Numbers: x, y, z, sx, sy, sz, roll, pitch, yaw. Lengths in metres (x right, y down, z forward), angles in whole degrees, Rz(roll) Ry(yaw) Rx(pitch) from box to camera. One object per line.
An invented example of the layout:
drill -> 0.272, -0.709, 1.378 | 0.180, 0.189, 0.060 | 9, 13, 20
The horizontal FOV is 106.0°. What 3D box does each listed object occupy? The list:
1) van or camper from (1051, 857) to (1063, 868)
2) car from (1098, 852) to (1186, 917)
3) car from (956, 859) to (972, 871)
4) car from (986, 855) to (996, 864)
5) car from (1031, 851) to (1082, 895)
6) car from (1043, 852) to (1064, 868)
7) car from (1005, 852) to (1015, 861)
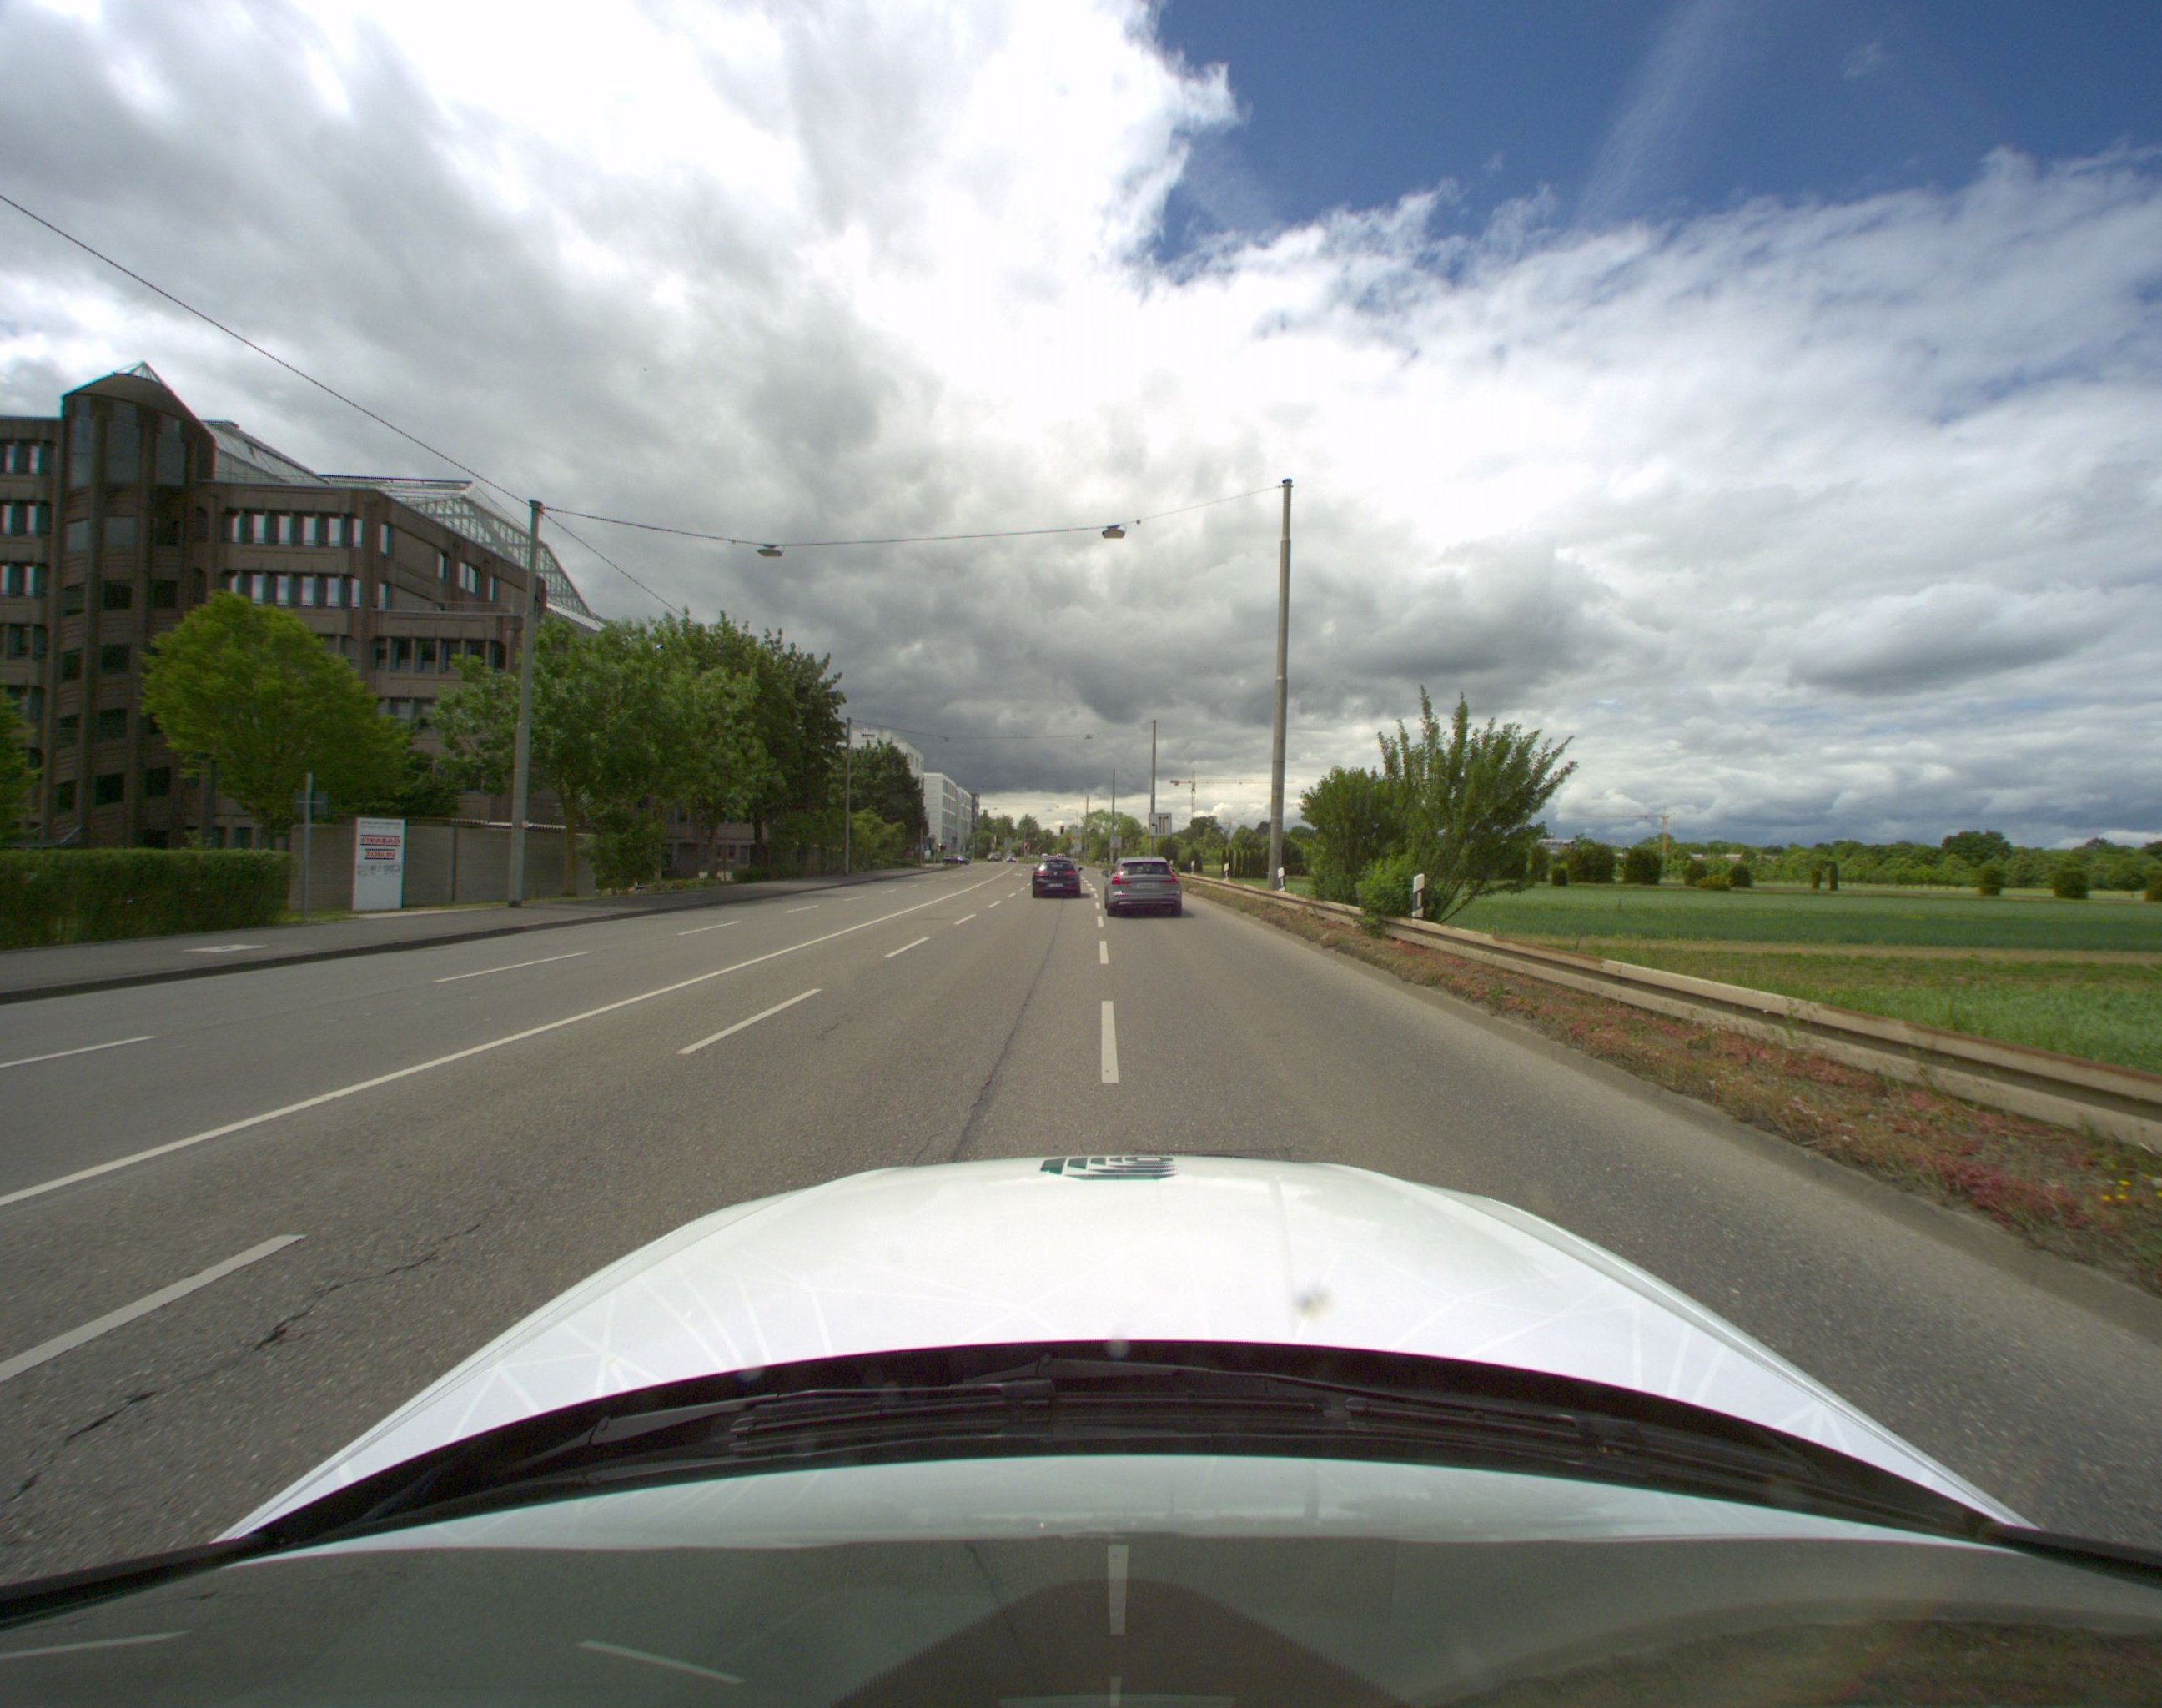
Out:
van or camper -> -4.834, 1.705, 163.381 | 1.897, 1.925, 3.991 | 4, 0, -7
car -> 1.485, 0.753, 21.550 | 1.952, 1.525, 4.338 | 0, -1, -1
car -> -16.993, 1.574, 118.211 | 1.793, 1.585, 4.307 | 4, -1, -4
car -> -16.894, 1.001, 152.948 | 1.748, 1.631, 3.994 | -1, 0, -4
car -> -0.891, 0.694, 30.422 | 1.742, 1.484, 3.998 | 1, -1, -1
car -> -3.021, 0.607, 88.984 | 1.980, 1.590, 4.219 | 2, 1, -5
car -> -13.193, 0.522, 151.418 | 1.665, 1.524, 4.002 | -1, 1, -4
